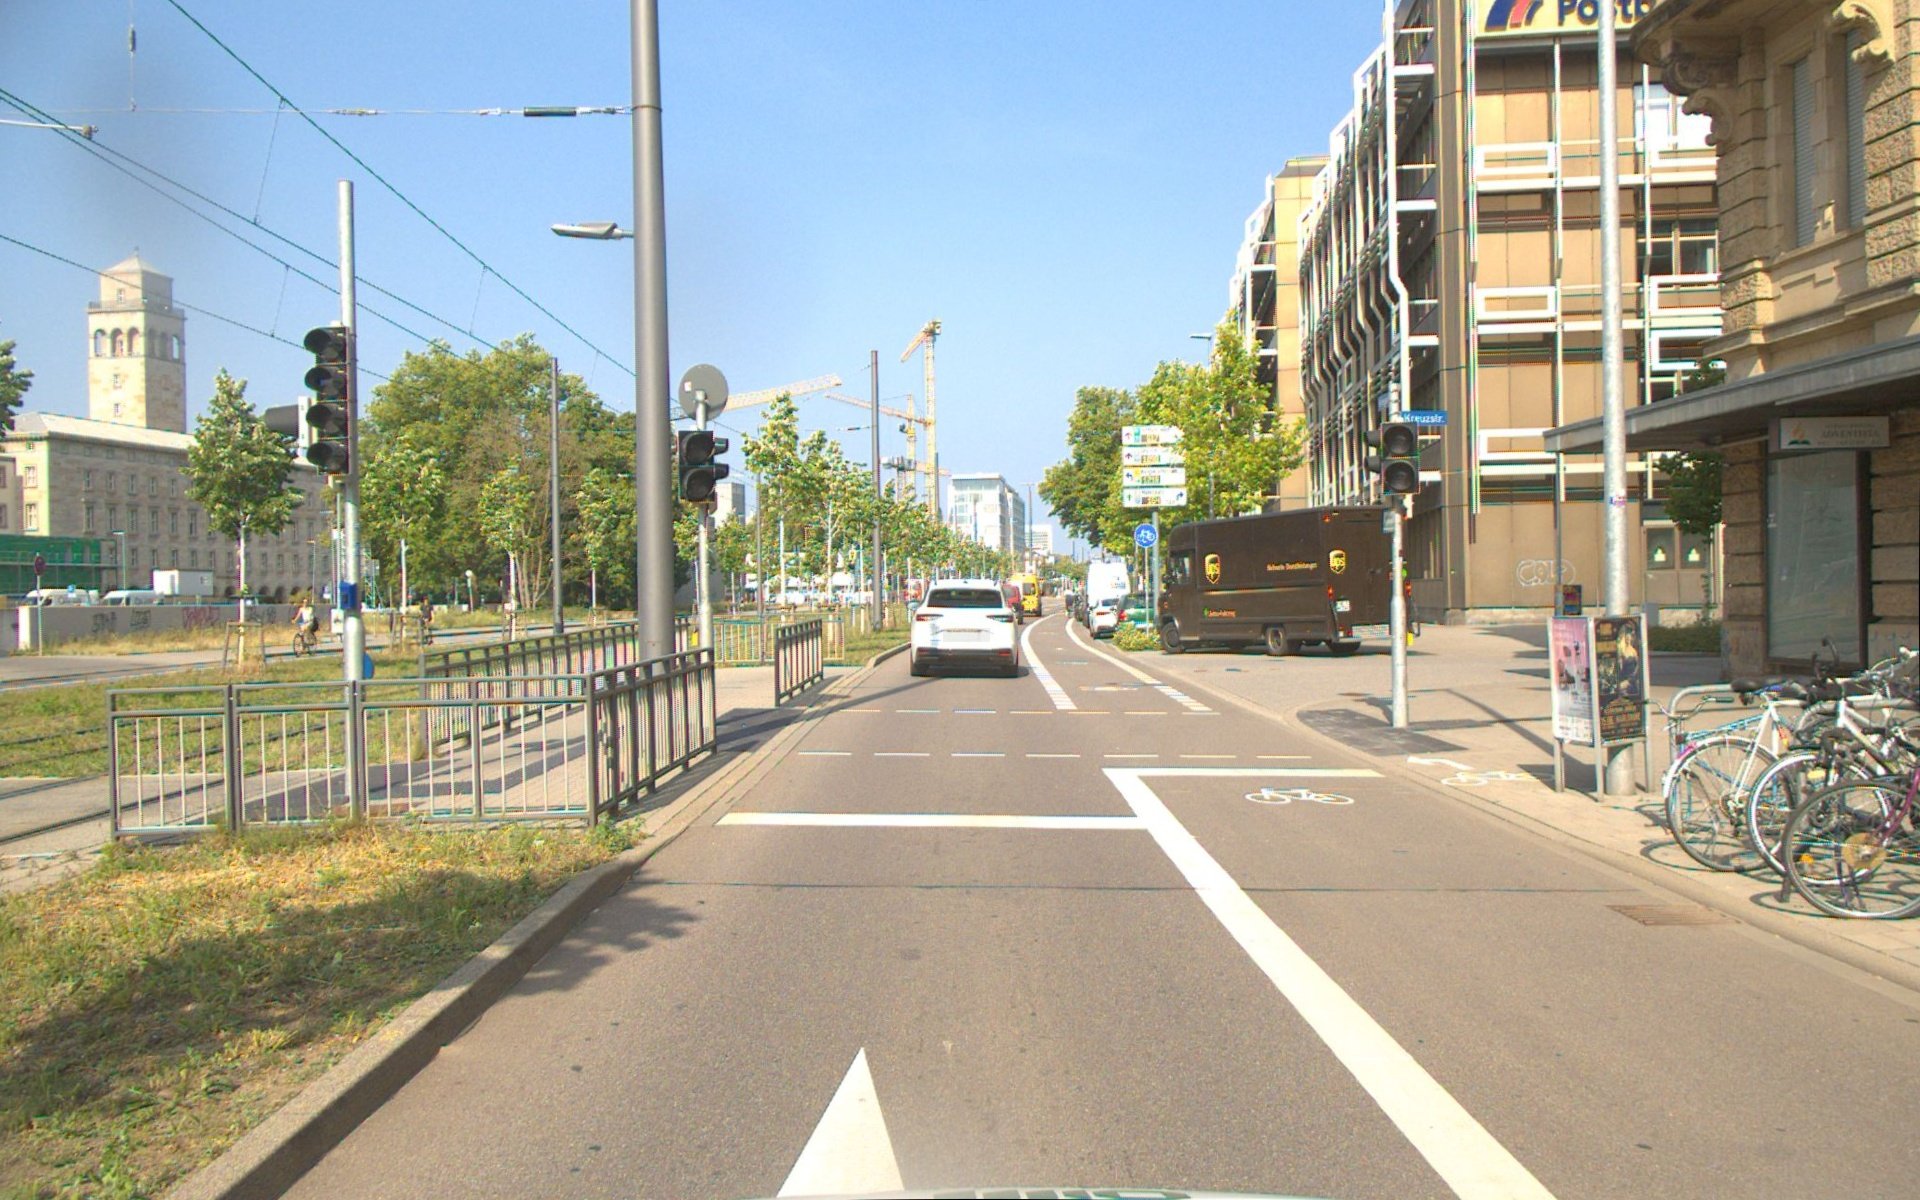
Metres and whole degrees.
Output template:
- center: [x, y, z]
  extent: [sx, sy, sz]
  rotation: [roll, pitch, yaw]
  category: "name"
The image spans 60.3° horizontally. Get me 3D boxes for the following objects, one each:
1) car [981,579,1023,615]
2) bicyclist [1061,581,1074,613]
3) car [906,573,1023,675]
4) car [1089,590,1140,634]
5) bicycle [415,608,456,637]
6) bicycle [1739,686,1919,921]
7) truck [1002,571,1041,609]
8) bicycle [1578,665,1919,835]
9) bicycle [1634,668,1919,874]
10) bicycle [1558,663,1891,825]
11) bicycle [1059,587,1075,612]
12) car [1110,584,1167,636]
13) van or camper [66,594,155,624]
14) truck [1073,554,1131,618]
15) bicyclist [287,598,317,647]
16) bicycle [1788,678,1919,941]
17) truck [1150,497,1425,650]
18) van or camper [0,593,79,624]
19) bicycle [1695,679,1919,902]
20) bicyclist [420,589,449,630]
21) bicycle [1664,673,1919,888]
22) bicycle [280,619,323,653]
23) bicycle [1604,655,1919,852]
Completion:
- center: [2.087, -0.169, 81.035]
  extent: [1.952, 1.713, 4.370]
  rotation: [-1, 0, 2]
  category: "car"
- center: [6.644, -0.191, 102.413]
  extent: [0.694, 1.929, 0.843]
  rotation: [-1, 0, -2]
  category: "bicyclist"
- center: [0.002, 0.381, 28.713]
  extent: [1.781, 1.617, 4.404]
  rotation: [0, 0, -3]
  category: "car"
- center: [5.170, 0.371, 55.692]
  extent: [1.615, 1.409, 3.528]
  rotation: [-1, 0, 4]
  category: "car"
- center: [-19.923, 0.844, 62.873]
  extent: [0.681, 1.008, 2.824]
  rotation: [-1, 0, -1]
  category: "bicycle"
- center: [4.592, 0.876, 7.466]
  extent: [1.894, 0.962, 0.441]
  rotation: [-3, 0, 1]
  category: "bicycle"
- center: [3.951, -0.669, 107.542]
  extent: [2.168, 2.358, 5.889]
  rotation: [-1, 0, -1]
  category: "truck"
- center: [4.732, 0.890, 9.919]
  extent: [1.848, 0.878, 0.429]
  rotation: [-3, 0, 1]
  category: "bicycle"
- center: [4.638, 0.885, 8.780]
  extent: [1.894, 0.962, 0.429]
  rotation: [-3, 0, 1]
  category: "bicycle"
- center: [4.767, 0.893, 10.363]
  extent: [1.848, 0.878, 0.429]
  rotation: [-3, 0, 1]
  category: "bicycle"
- center: [6.633, -0.022, 102.722]
  extent: [0.766, 1.522, 2.800]
  rotation: [-1, 0, -1]
  category: "bicycle"
- center: [5.500, 0.293, 51.239]
  extent: [1.615, 1.525, 3.528]
  rotation: [-1, 0, 4]
  category: "car"
- center: [-64.438, 0.656, 125.604]
  extent: [2.501, 2.122, 6.444]
  rotation: [-1, 0, 11]
  category: "van or camper"
- center: [5.921, -0.589, 69.359]
  extent: [1.953, 2.552, 3.999]
  rotation: [-1, 0, -1]
  category: "truck"
- center: [-20.142, 0.680, 50.634]
  extent: [0.527, 1.447, 0.900]
  rotation: [-1, 0, 1]
  category: "bicyclist"
- center: [4.599, 0.837, 7.019]
  extent: [1.894, 1.030, 0.441]
  rotation: [-3, 0, 1]
  category: "bicycle"
- center: [7.078, -0.548, 36.833]
  extent: [2.477, 3.064, 6.907]
  rotation: [-1, 0, -24]
  category: "truck"
- center: [-66.402, 0.578, 118.184]
  extent: [2.501, 2.122, 6.444]
  rotation: [-1, 0, 11]
  category: "van or camper"
- center: [4.602, 0.880, 7.946]
  extent: [1.894, 0.962, 0.441]
  rotation: [-3, 0, 1]
  category: "bicycle"
- center: [-19.936, 0.361, 62.780]
  extent: [0.681, 1.542, 1.186]
  rotation: [-1, 0, -1]
  category: "bicyclist"
- center: [4.613, 0.882, 8.336]
  extent: [1.894, 0.962, 0.429]
  rotation: [-3, 0, 1]
  category: "bicycle"
- center: [-20.149, 1.107, 50.643]
  extent: [0.527, 0.975, 1.918]
  rotation: [-1, 0, 1]
  category: "bicycle"
- center: [4.657, 0.843, 9.246]
  extent: [1.894, 0.962, 0.429]
  rotation: [-3, 0, 1]
  category: "bicycle"
